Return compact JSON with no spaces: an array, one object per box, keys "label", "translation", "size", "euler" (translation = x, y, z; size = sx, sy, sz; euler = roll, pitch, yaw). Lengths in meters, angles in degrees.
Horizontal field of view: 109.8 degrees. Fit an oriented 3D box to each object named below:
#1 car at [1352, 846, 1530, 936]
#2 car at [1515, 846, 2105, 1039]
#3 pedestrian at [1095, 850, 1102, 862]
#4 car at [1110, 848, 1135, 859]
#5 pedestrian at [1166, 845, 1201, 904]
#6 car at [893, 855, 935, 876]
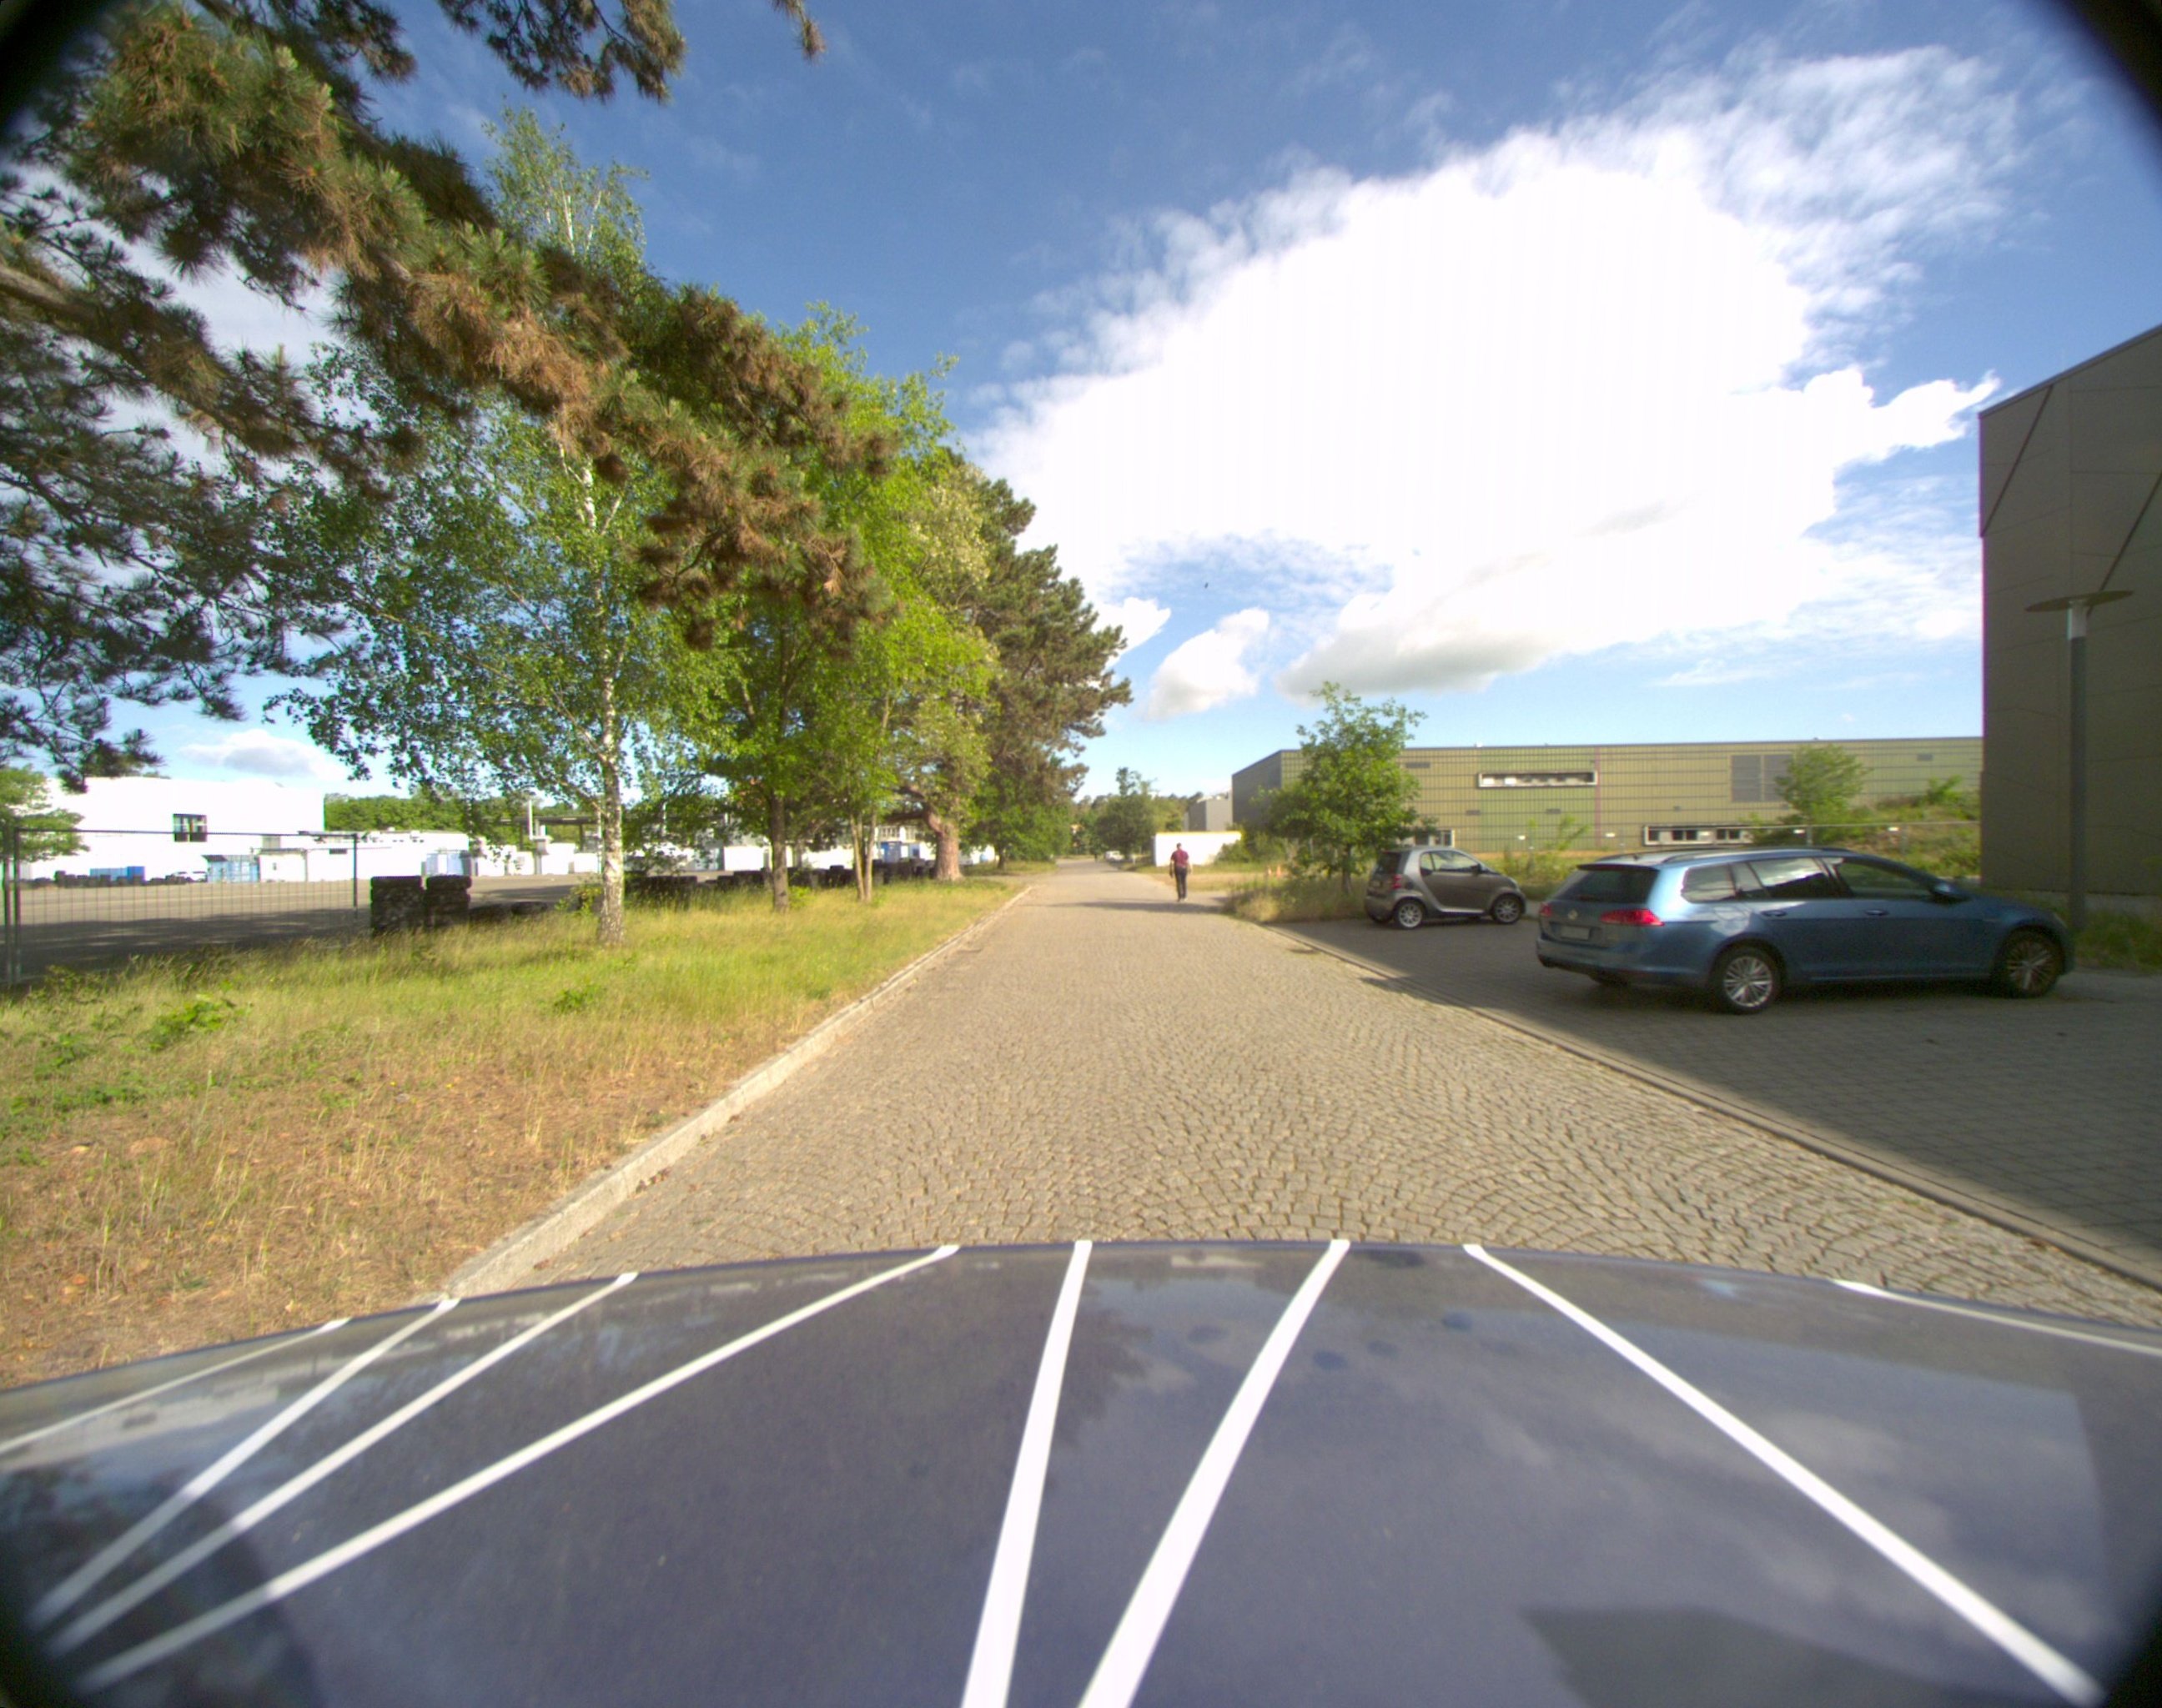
[{"label":"car","translation":[6.978,0.680,14.909],"size":[2.706,1.533,1.518],"euler":[-3,1,-1]},{"label":"car","translation":[6.910,0.771,7.504],"size":[4.268,1.455,1.680],"euler":[-3,0,-2]},{"label":"pedestrian","translation":[2.568,0.331,112.360],"size":[0.908,1.797,0.983],"euler":[-1,1,-7]},{"label":"car","translation":[6.615,-0.135,122.226],"size":[3.996,1.678,2.000],"euler":[-1,1,3]},{"label":"pedestrian","translation":[3.137,0.608,23.353],"size":[0.806,1.761,1.152],"euler":[-1,1,-4]},{"label":"car","translation":[-12.342,0.805,56.489],"size":[1.846,1.440,4.001],"euler":[-1,1,6]}]
